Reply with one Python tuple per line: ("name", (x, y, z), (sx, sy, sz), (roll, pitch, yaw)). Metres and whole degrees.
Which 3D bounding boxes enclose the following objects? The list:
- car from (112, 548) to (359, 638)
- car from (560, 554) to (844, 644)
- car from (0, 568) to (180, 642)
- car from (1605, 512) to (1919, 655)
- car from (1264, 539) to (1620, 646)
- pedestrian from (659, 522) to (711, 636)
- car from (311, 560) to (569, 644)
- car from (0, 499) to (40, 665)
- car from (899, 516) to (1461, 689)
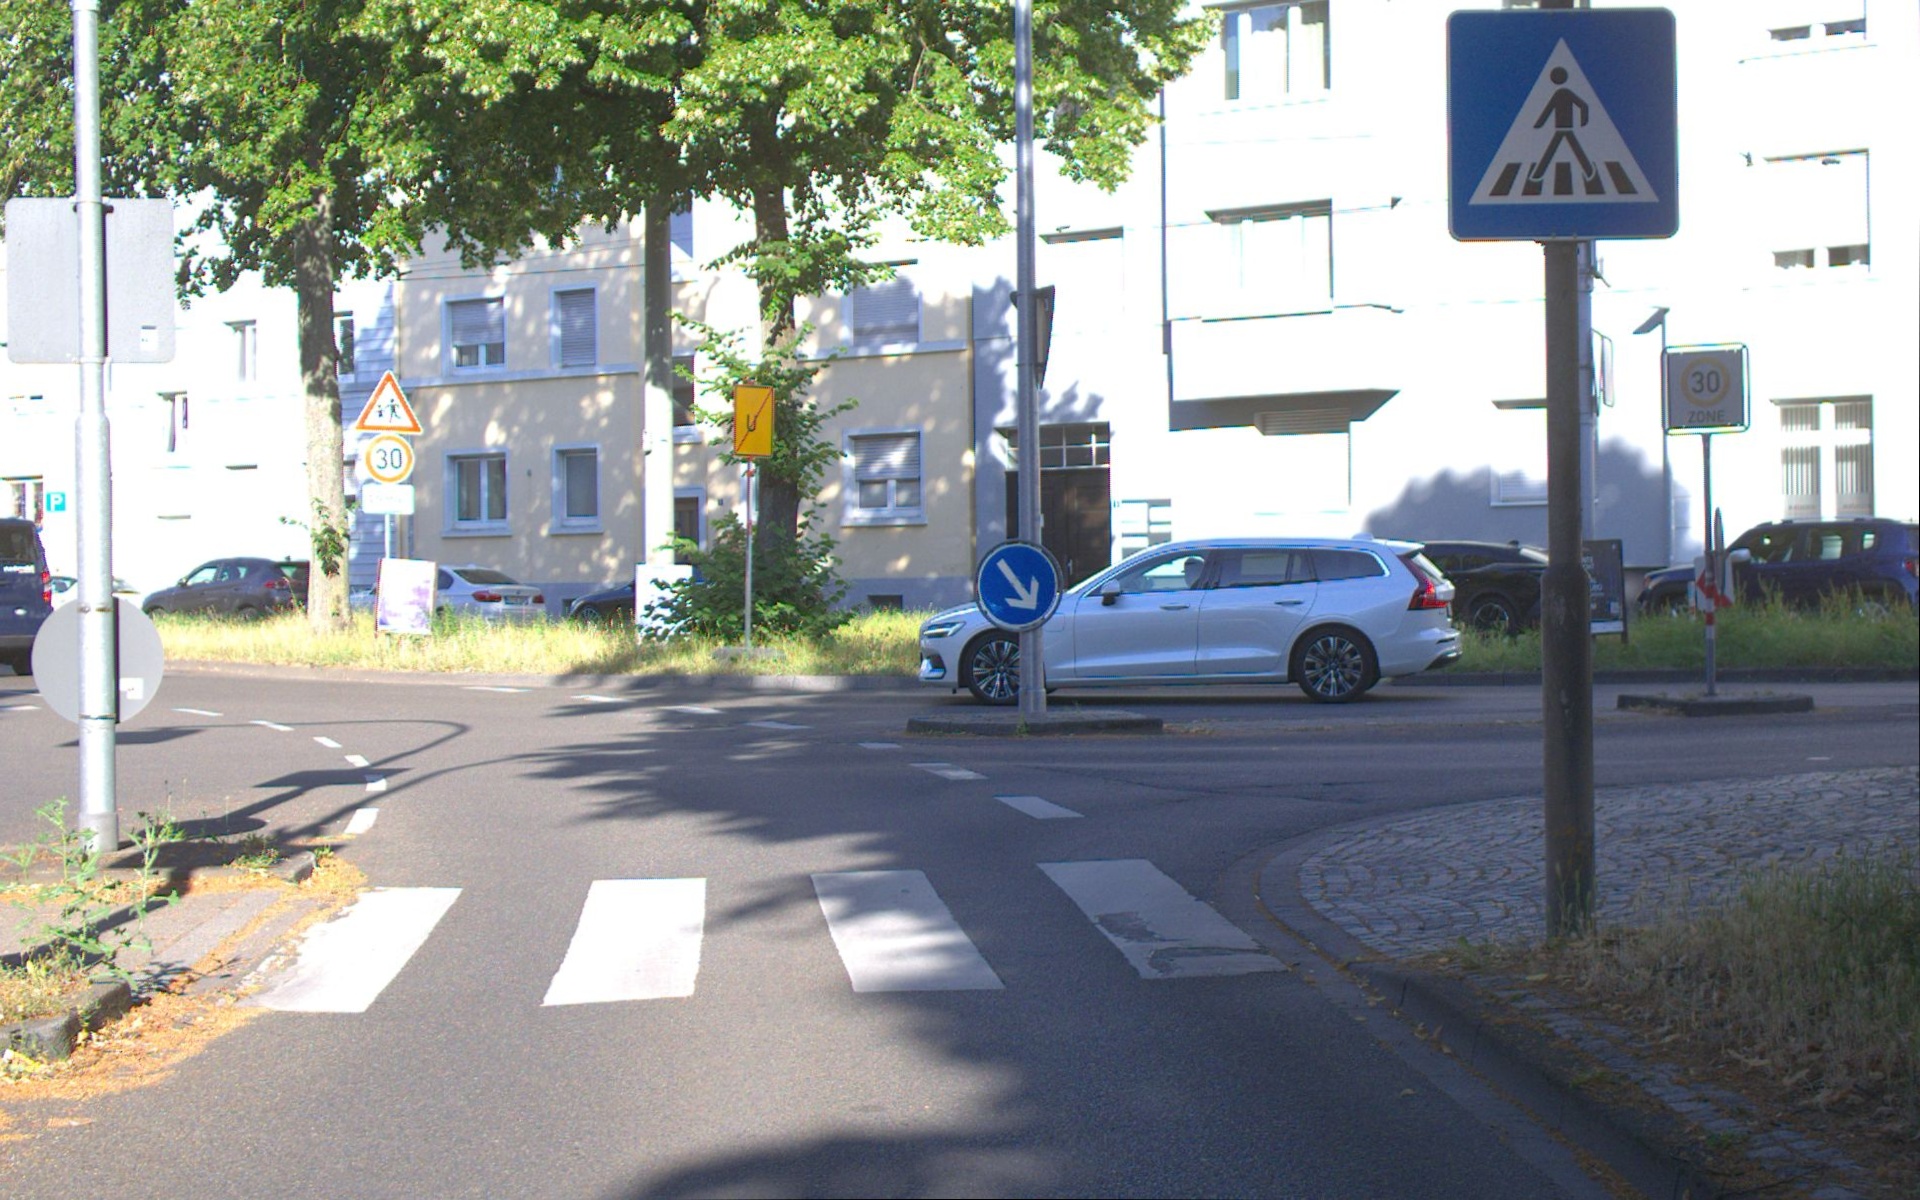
("car", (-13.555, -0.124, 64.183), (4.636, 1.567, 1.996), (-1, 1, 39))
("car", (-4.226, -0.038, 56.055), (4.441, 1.381, 1.996), (1, 2, 39))
("car", (-17.604, 0.077, 67.537), (4.441, 1.381, 1.996), (1, 2, 36))
("car", (10.628, -0.243, 44.045), (4.205, 1.743, 1.996), (1, 2, 39))
("car", (6.594, -0.126, 47.249), (4.441, 1.381, 1.996), (1, 2, 39))
("pedestrian", (-4.883, -0.376, 61.071), (0.649, 2.007, 0.612), (0, 0, 39))
("car", (-9.185, 0.007, 60.529), (4.441, 1.381, 1.996), (1, 2, 39))
("car", (-13.114, -0.237, 43.042), (1.993, 2.007, 4.000), (0, 0, -32))
("car", (1.982, 0.005, 30.292), (4.759, 1.458, 1.854), (0, 1, 10))
